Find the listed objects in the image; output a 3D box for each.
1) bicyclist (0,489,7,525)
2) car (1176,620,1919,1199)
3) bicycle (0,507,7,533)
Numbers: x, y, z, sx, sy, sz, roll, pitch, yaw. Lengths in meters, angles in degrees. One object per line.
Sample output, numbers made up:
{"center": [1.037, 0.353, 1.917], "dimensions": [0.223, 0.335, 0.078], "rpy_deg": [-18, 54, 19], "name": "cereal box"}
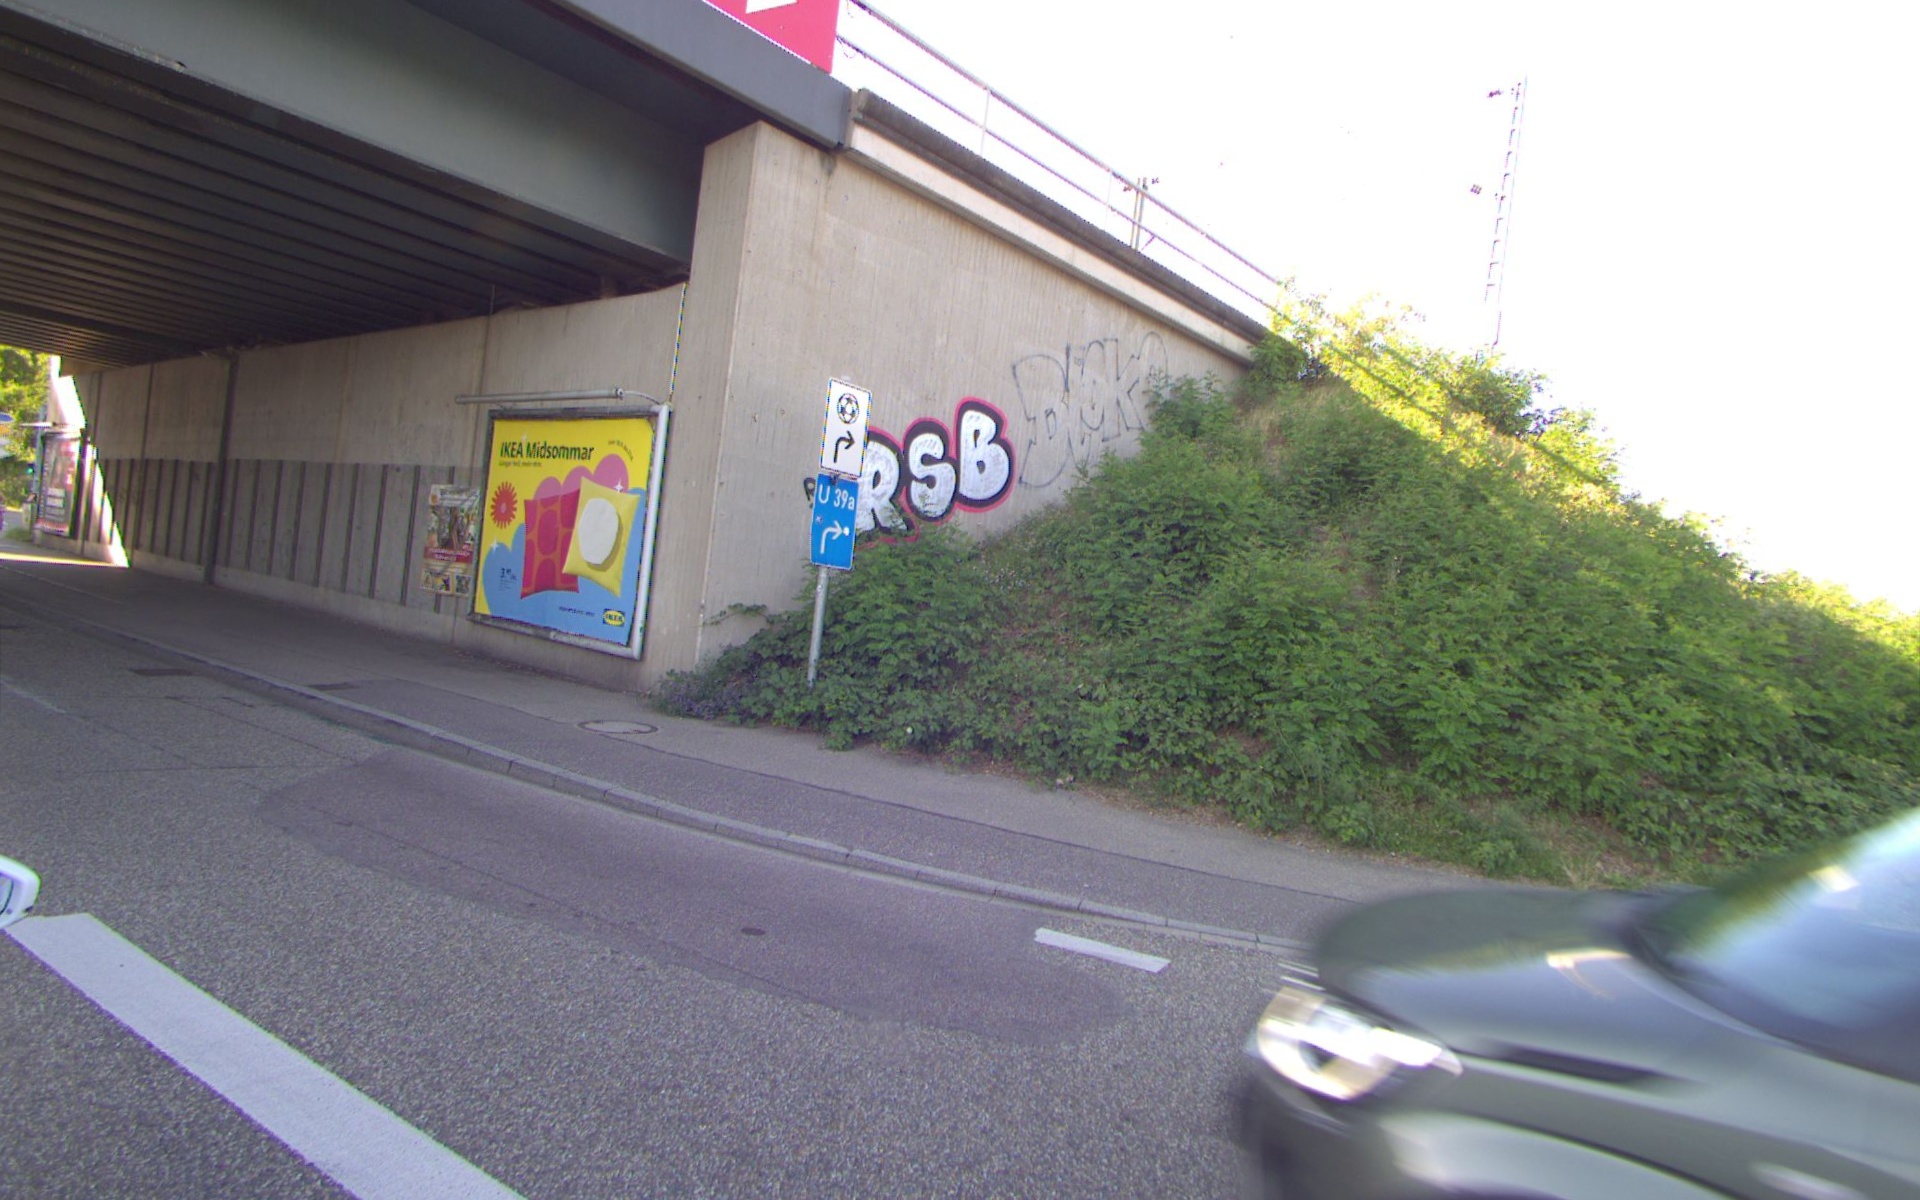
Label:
{"center": [-34.173, -3.315, 35.670], "dimensions": [0.453, 1.248, 0.427], "rpy_deg": [6, 1, 38], "name": "bicyclist"}
{"center": [2.588, 1.130, 1.693], "dimensions": [3.993, 1.649, 1.741], "rpy_deg": [6, -2, 30], "name": "car"}
{"center": [-34.219, -2.866, 35.690], "dimensions": [1.011, 0.926, 0.437], "rpy_deg": [6, 1, 39], "name": "bicycle"}
